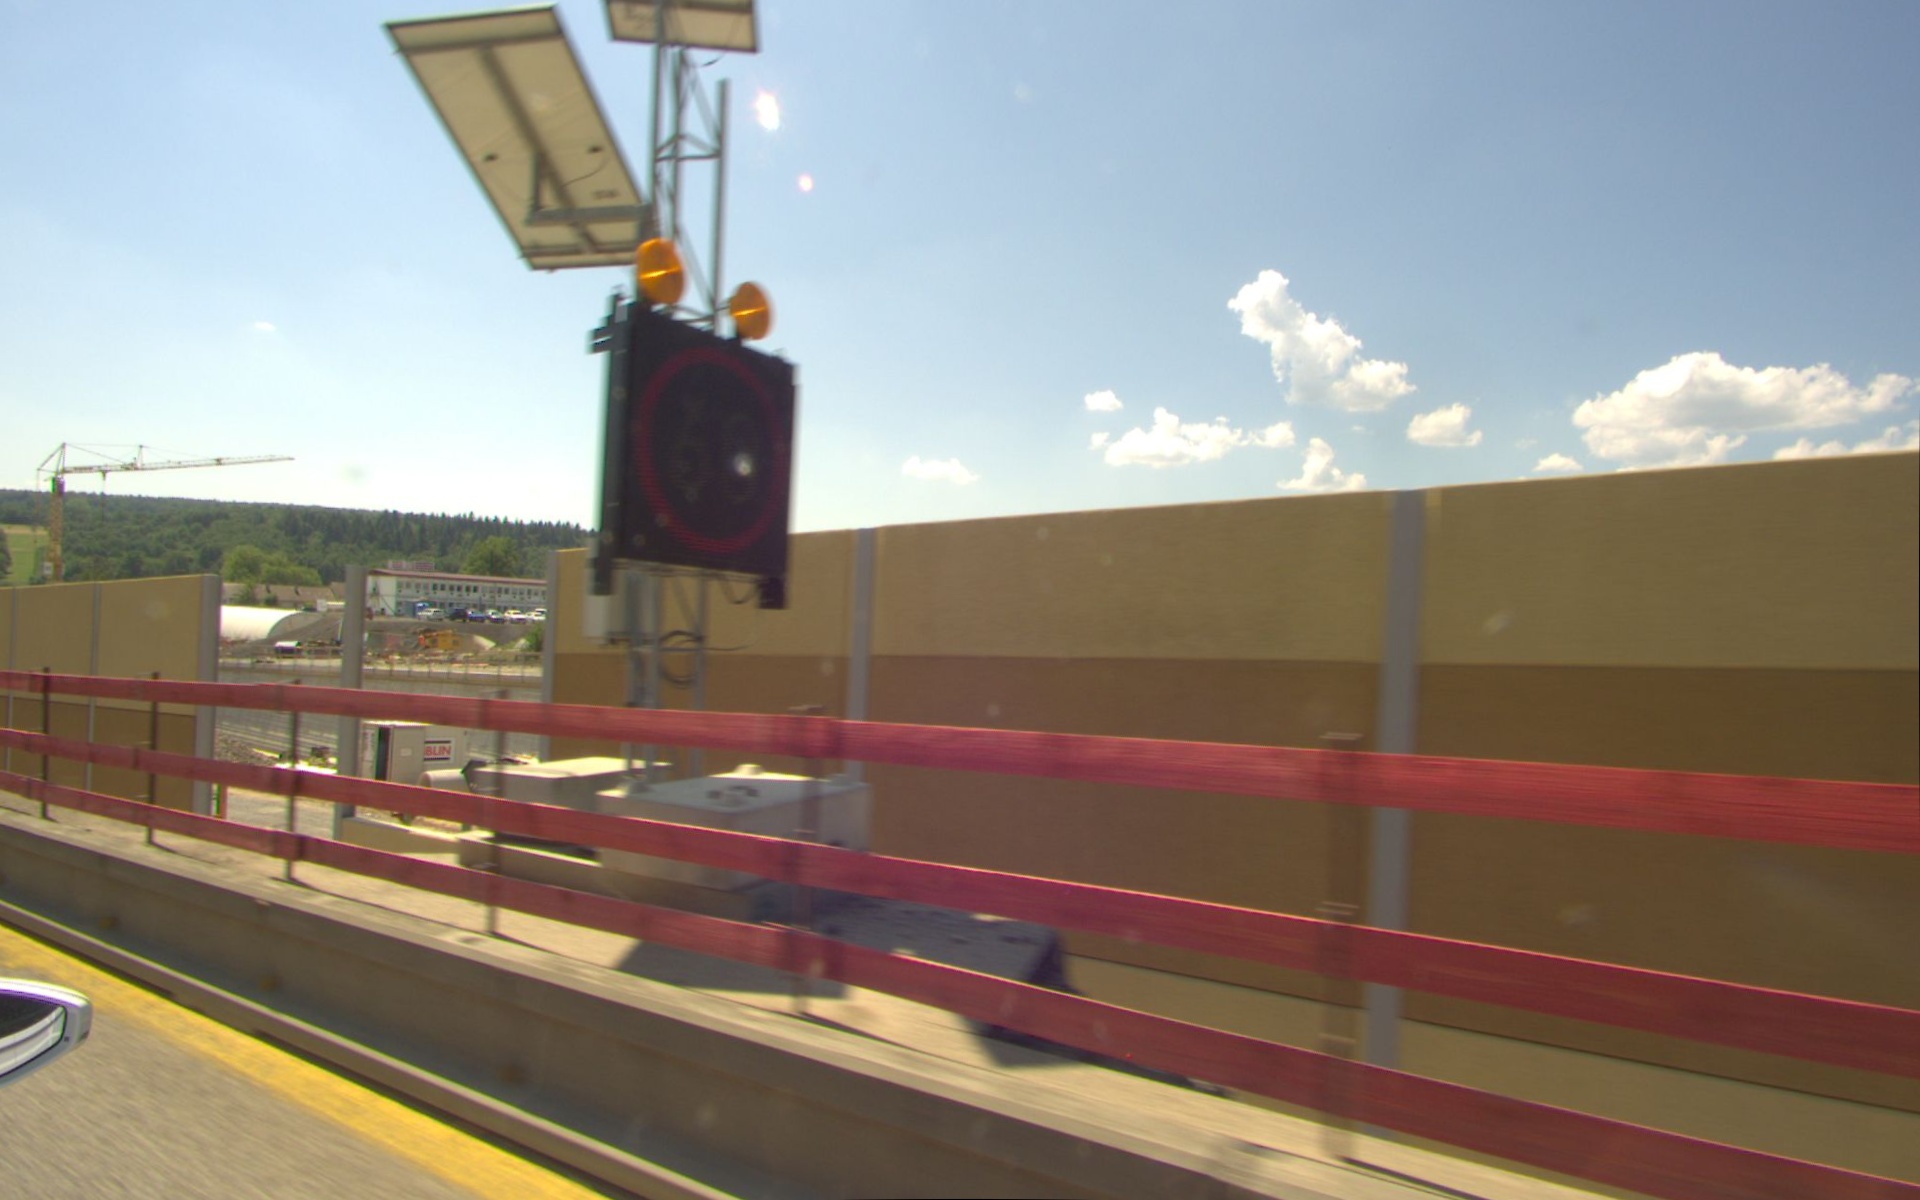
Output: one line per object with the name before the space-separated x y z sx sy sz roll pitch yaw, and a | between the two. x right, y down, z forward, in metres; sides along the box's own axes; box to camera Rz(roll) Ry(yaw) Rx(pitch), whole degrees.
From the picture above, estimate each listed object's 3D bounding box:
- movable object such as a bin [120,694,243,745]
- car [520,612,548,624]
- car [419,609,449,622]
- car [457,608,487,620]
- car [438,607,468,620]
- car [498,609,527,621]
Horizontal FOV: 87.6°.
movable object such as a bin | -45.044 6.814 57.911 7.784 2.475 3.159 -1 -4 33
car | -58.020 2.490 136.374 4.019 1.537 1.677 -1 -2 34
car | -66.558 1.952 126.614 4.019 1.537 1.677 -1 -2 34
car | -63.717 1.831 130.688 4.019 1.537 1.677 -1 -2 34
car | -65.150 1.771 128.576 4.019 1.537 1.677 -1 -2 34
car | -60.081 2.042 134.458 4.019 1.537 1.710 -1 -2 34
